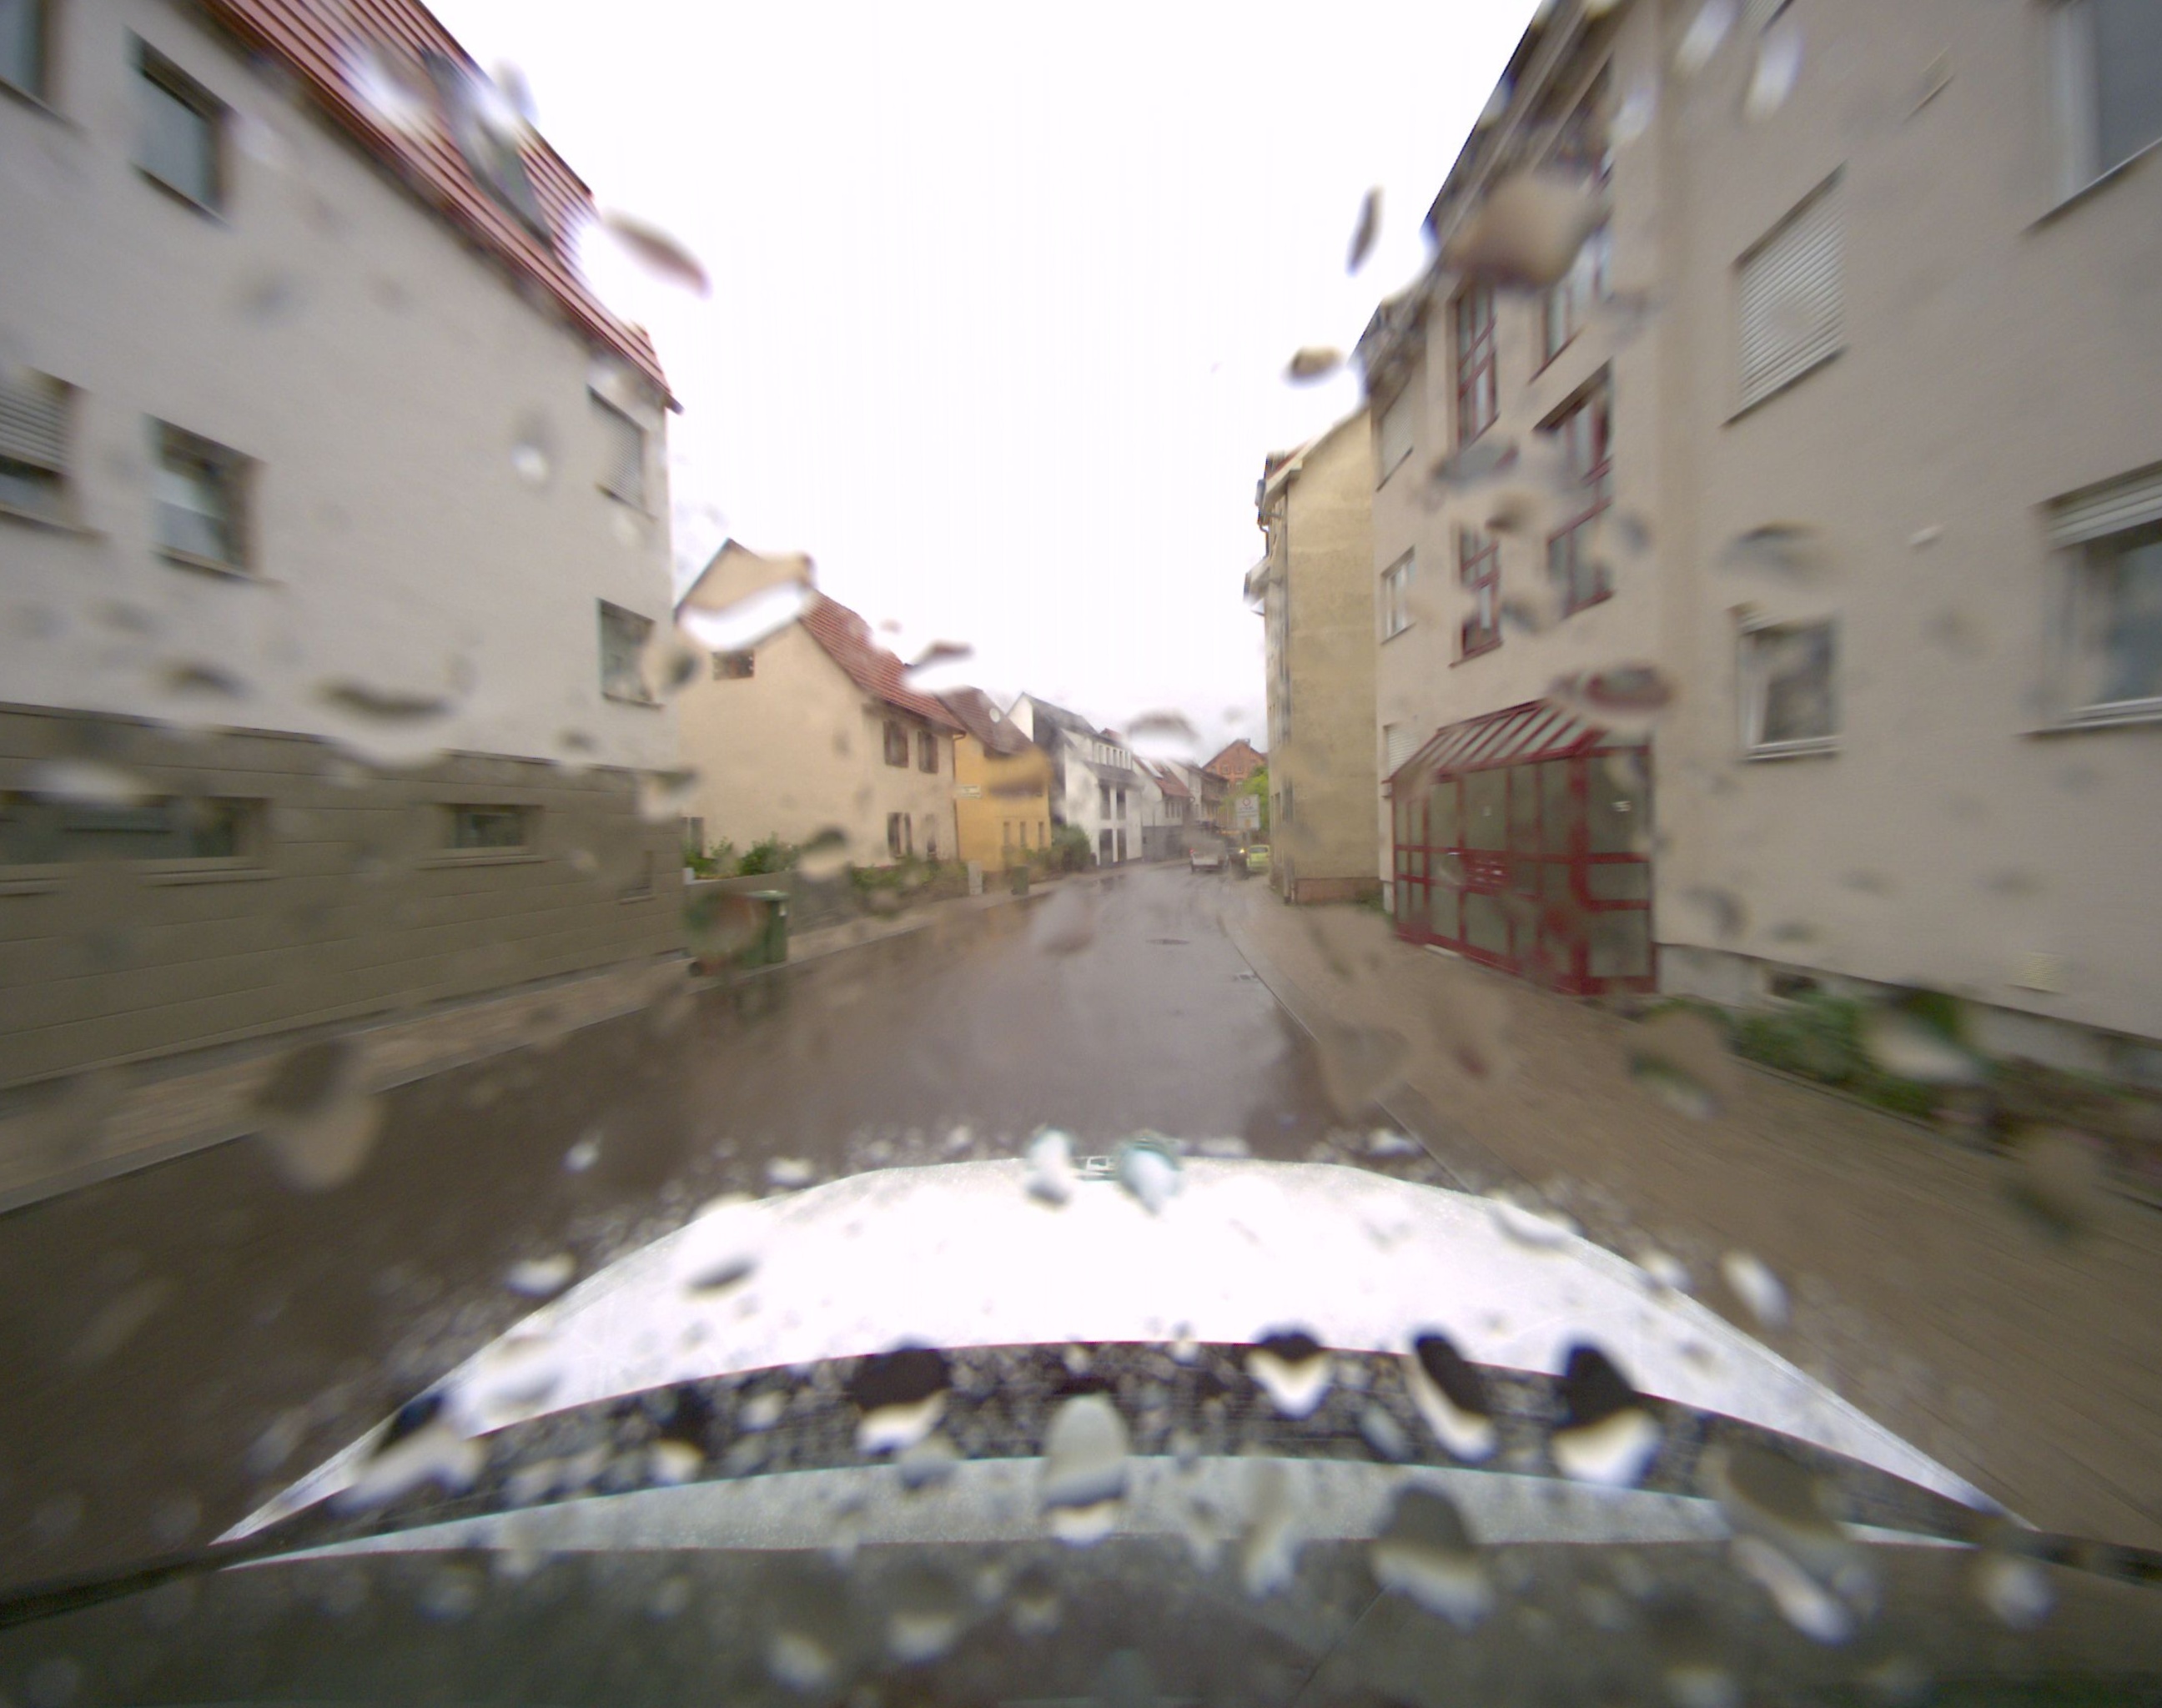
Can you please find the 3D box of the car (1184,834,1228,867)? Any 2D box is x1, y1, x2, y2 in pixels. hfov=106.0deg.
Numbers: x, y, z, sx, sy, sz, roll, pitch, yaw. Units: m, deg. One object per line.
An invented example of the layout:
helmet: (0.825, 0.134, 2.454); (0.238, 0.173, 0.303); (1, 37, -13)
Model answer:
car: (7.667, -0.240, 49.445); (2.179, 1.851, 4.321); (-2, 0, 14)

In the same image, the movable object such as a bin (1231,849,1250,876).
movable object such as a bin: (7.112, 0.381, 36.194); (0.762, 1.173, 1.546); (-1, 0, 13)

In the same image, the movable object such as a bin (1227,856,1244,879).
movable object such as a bin: (7.102, 0.615, 37.407); (0.701, 1.046, 0.520); (-1, 0, 16)

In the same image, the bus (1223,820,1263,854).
bus: (16.773, -1.857, 83.791); (2.717, 3.129, 9.281); (-1, 3, 19)

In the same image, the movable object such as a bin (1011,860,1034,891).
movable object such as a bin: (-2.098, 0.764, 29.152); (0.656, 1.056, 0.765); (1, 1, 9)

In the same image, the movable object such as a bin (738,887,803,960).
movable object such as a bin: (-4.729, 1.048, 12.427); (0.678, 1.045, 0.662); (0, 0, 7)

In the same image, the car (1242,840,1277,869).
car: (9.872, 0.001, 44.921); (1.591, 1.484, 3.315); (-3, 0, 15)

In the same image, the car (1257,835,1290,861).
car: (13.533, -0.427, 57.105); (1.697, 1.762, 4.021); (-1, 0, 21)

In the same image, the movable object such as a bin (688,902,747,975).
movable object such as a bin: (-4.923, 1.135, 11.037); (0.503, 0.922, 0.580); (0, 0, 5)

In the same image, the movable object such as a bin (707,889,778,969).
movable object such as a bin: (-4.868, 1.062, 11.743); (0.678, 1.066, 0.696); (0, 0, 7)
